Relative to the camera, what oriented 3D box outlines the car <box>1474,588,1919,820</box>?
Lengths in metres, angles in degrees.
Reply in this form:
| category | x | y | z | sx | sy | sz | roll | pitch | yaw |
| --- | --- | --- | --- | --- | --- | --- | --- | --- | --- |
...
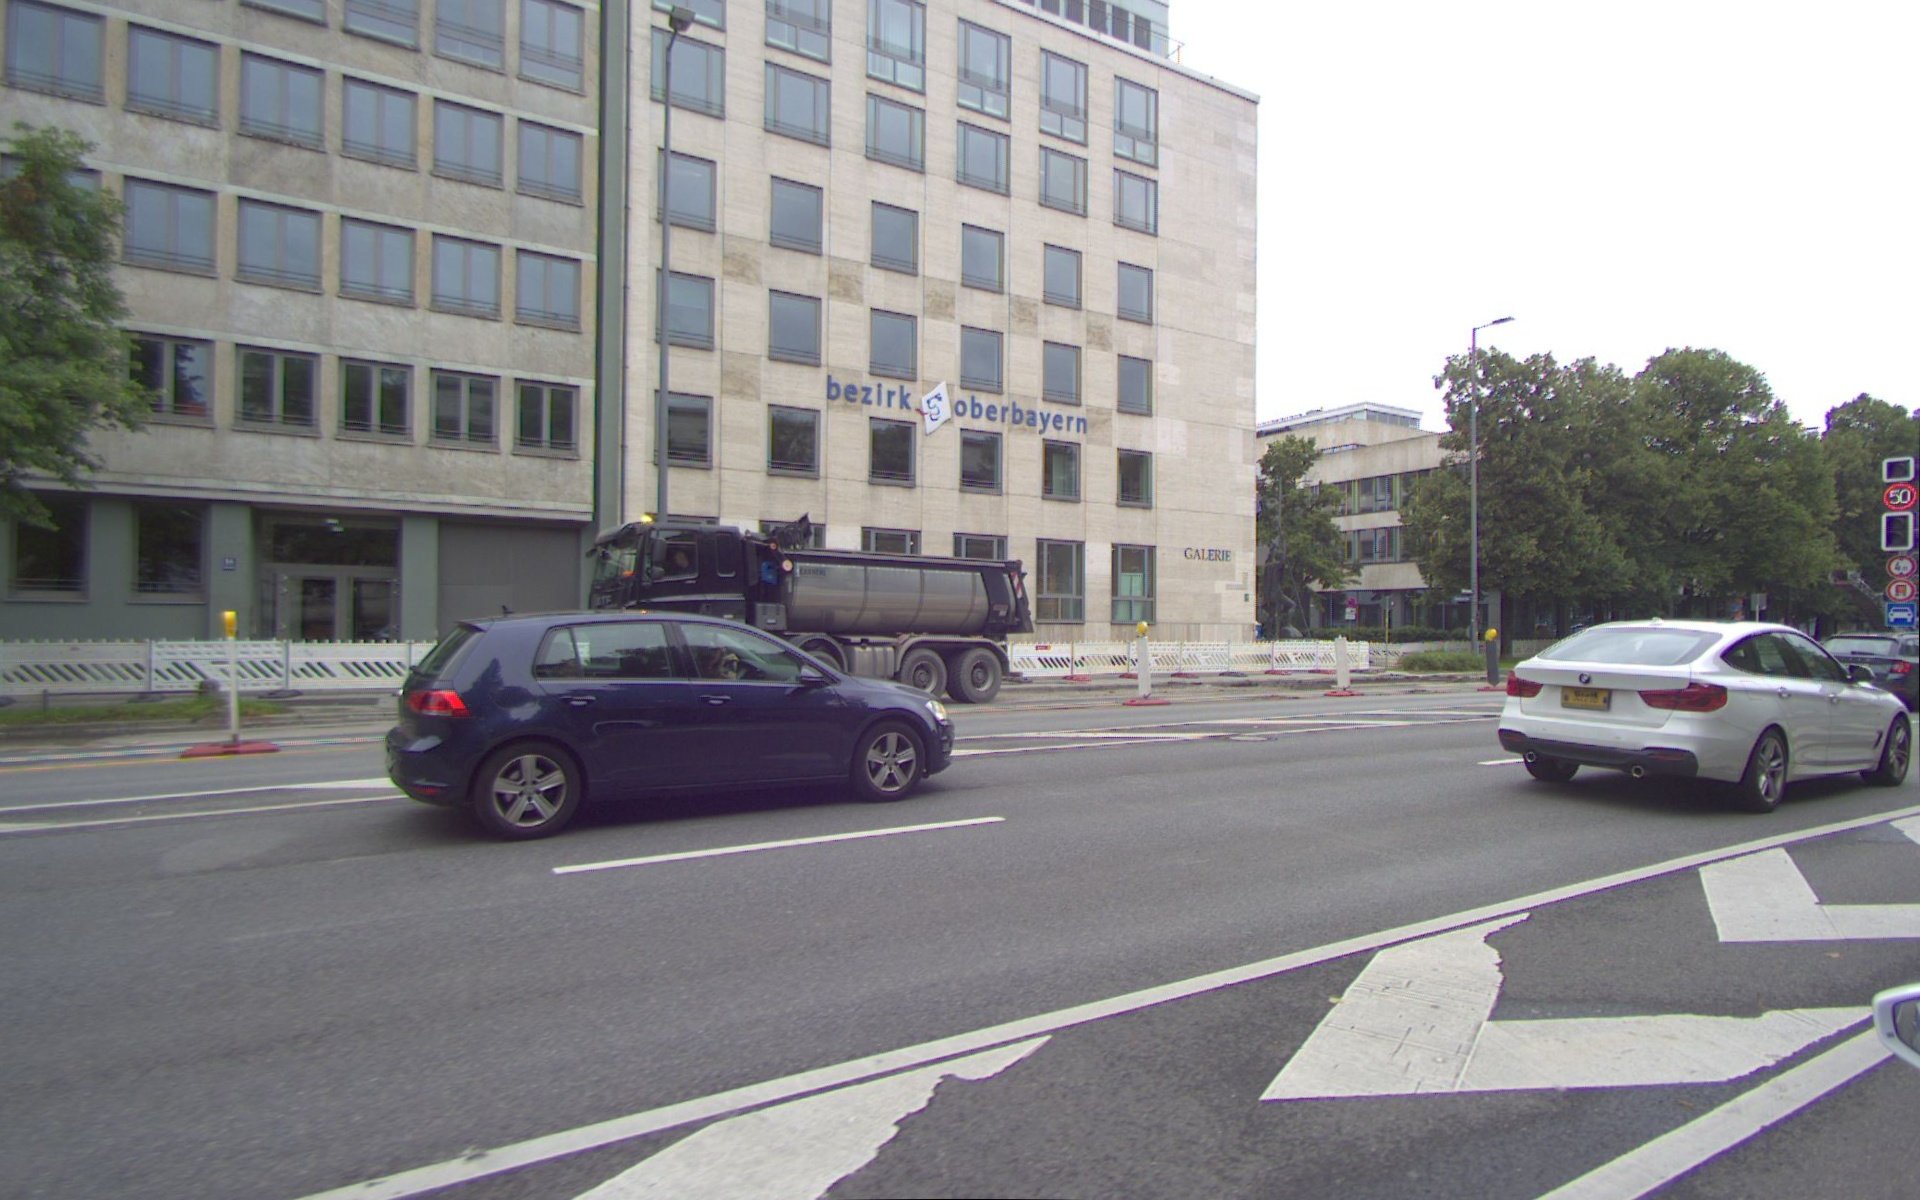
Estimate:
| category | x | y | z | sx | sy | sz | roll | pitch | yaw |
| --- | --- | --- | --- | --- | --- | --- | --- | --- | --- |
| car | 7.033 | 0.820 | 9.303 | 4.970 | 1.658 | 1.783 | 2 | -2 | -32 |

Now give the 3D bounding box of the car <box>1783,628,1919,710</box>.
| category | x | y | z | sx | sy | sz | roll | pitch | yaw |
| --- | --- | --- | --- | --- | --- | --- | --- | --- | --- |
| car | 18.371 | 1.311 | 19.896 | 4.223 | 1.466 | 1.785 | 1 | -2 | -29 |

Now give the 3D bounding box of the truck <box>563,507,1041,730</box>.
| category | x | y | z | sx | sy | sz | roll | pitch | yaw |
| --- | --- | --- | --- | --- | --- | --- | --- | --- | --- |
| truck | -2.652 | 0.346 | 19.086 | 8.683 | 3.401 | 2.820 | 1 | 0 | -37 |

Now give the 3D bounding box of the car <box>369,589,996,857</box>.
| category | x | y | z | sx | sy | sz | roll | pitch | yaw |
| --- | --- | --- | --- | --- | --- | --- | --- | --- | --- |
| car | -1.970 | 0.761 | 7.605 | 4.289 | 1.536 | 1.683 | 1 | -2 | -31 |

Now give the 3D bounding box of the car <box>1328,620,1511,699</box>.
| category | x | y | z | sx | sy | sz | roll | pitch | yaw |
| --- | --- | --- | --- | --- | --- | --- | --- | --- | --- |
| car | 10.388 | 1.298 | 22.658 | 3.957 | 1.617 | 1.982 | 1 | -2 | -33 |
